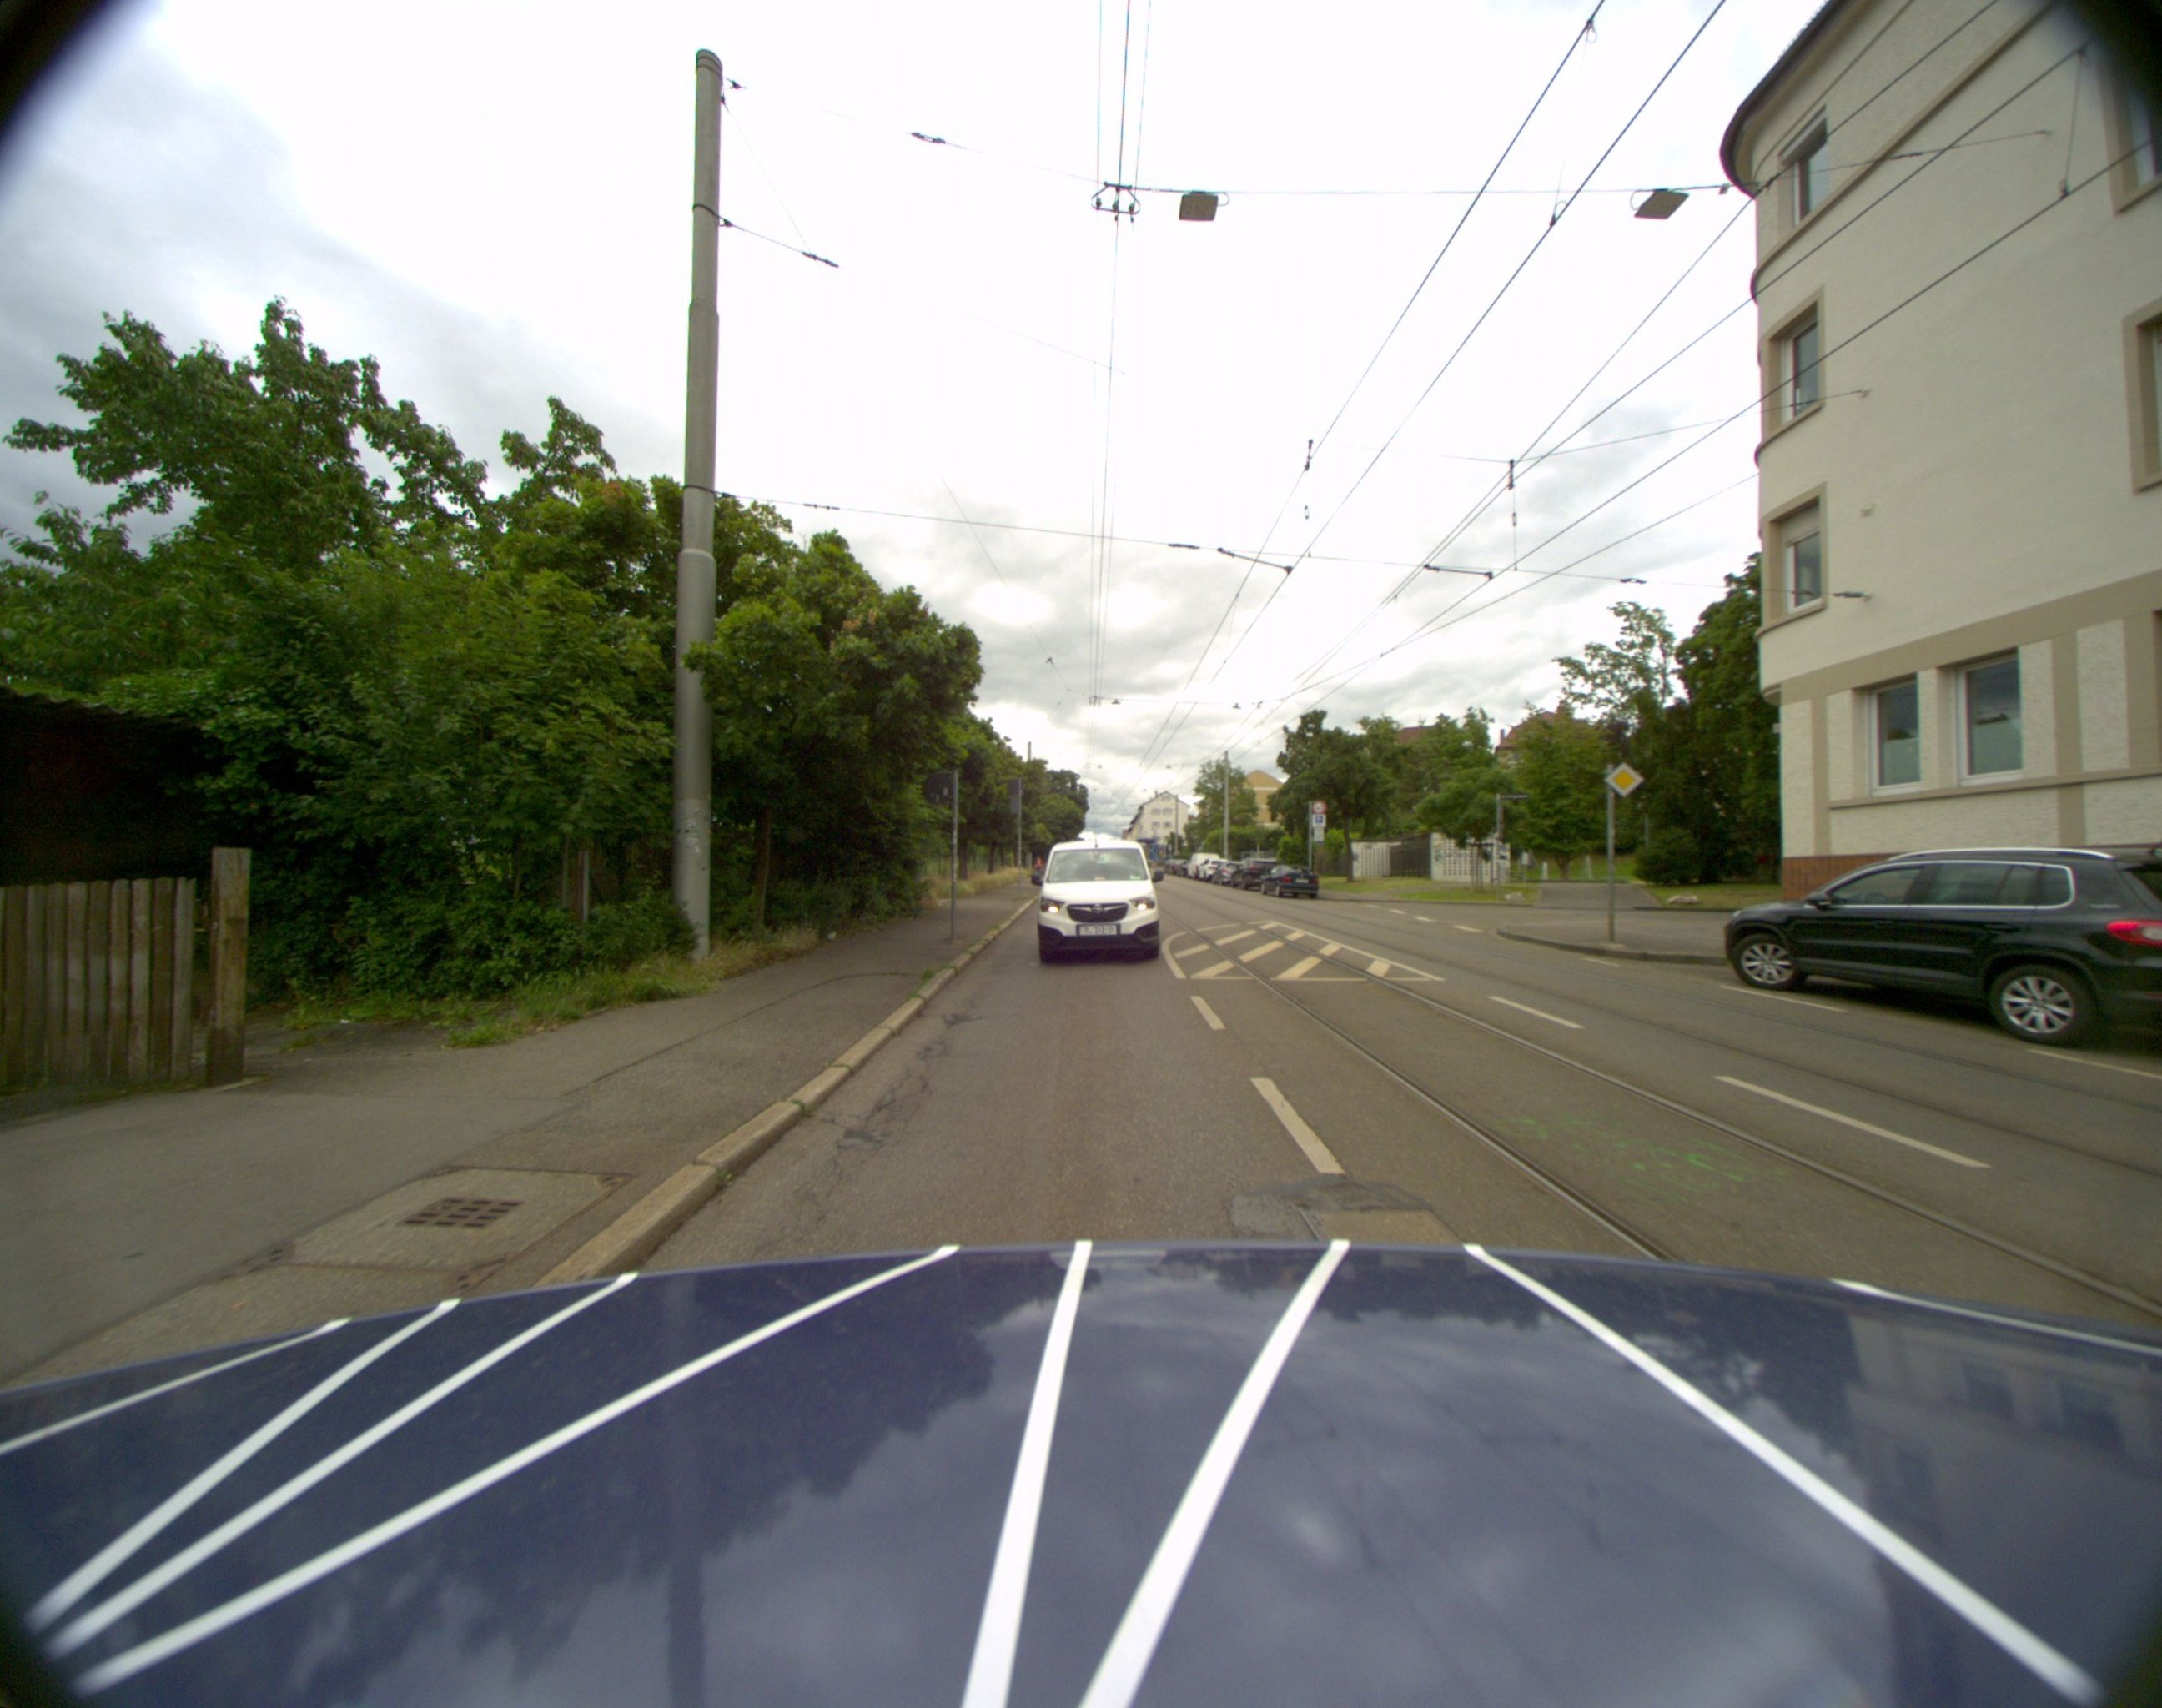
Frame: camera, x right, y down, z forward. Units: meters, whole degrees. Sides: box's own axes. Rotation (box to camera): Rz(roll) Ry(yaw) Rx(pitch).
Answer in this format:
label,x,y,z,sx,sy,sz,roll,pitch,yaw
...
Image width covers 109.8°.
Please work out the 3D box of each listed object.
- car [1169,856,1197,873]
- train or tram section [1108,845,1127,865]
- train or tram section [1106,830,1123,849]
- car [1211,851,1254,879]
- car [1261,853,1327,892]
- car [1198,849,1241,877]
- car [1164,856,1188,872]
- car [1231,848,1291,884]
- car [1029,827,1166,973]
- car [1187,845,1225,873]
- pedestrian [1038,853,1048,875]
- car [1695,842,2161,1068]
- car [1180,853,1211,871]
label,x,y,z,sx,sy,sz,roll,pitch,yaw
car,9.261,0.918,69.106,1.844,1.379,4.439,1,1,-1
train or tram section,6.613,0.094,139.061,2.857,3.615,12.128,0,1,0
train or tram section,6.692,-2.767,151.280,2.831,3.615,12.128,0,1,0
car,9.071,0.646,45.629,1.743,1.500,3.868,1,1,-1
car,9.166,0.753,32.954,1.625,1.469,4.155,1,1,-1
car,9.209,0.538,50.854,1.974,1.677,4.632,1,1,-1
car,9.391,0.932,75.133,1.794,1.396,4.160,1,1,-1
car,9.273,0.585,39.483,1.974,1.677,4.443,1,1,-1
car,0.273,0.578,11.902,1.730,1.850,4.421,0,0,2
car,9.312,0.324,57.022,1.974,1.902,4.733,1,1,-1
pedestrian,-2.739,0.707,54.668,0.716,1.611,0.718,0,1,1
car,8.906,0.734,7.610,1.872,1.636,4.401,1,1,-1
car,9.380,0.627,62.480,1.844,1.379,4.516,1,1,-1
